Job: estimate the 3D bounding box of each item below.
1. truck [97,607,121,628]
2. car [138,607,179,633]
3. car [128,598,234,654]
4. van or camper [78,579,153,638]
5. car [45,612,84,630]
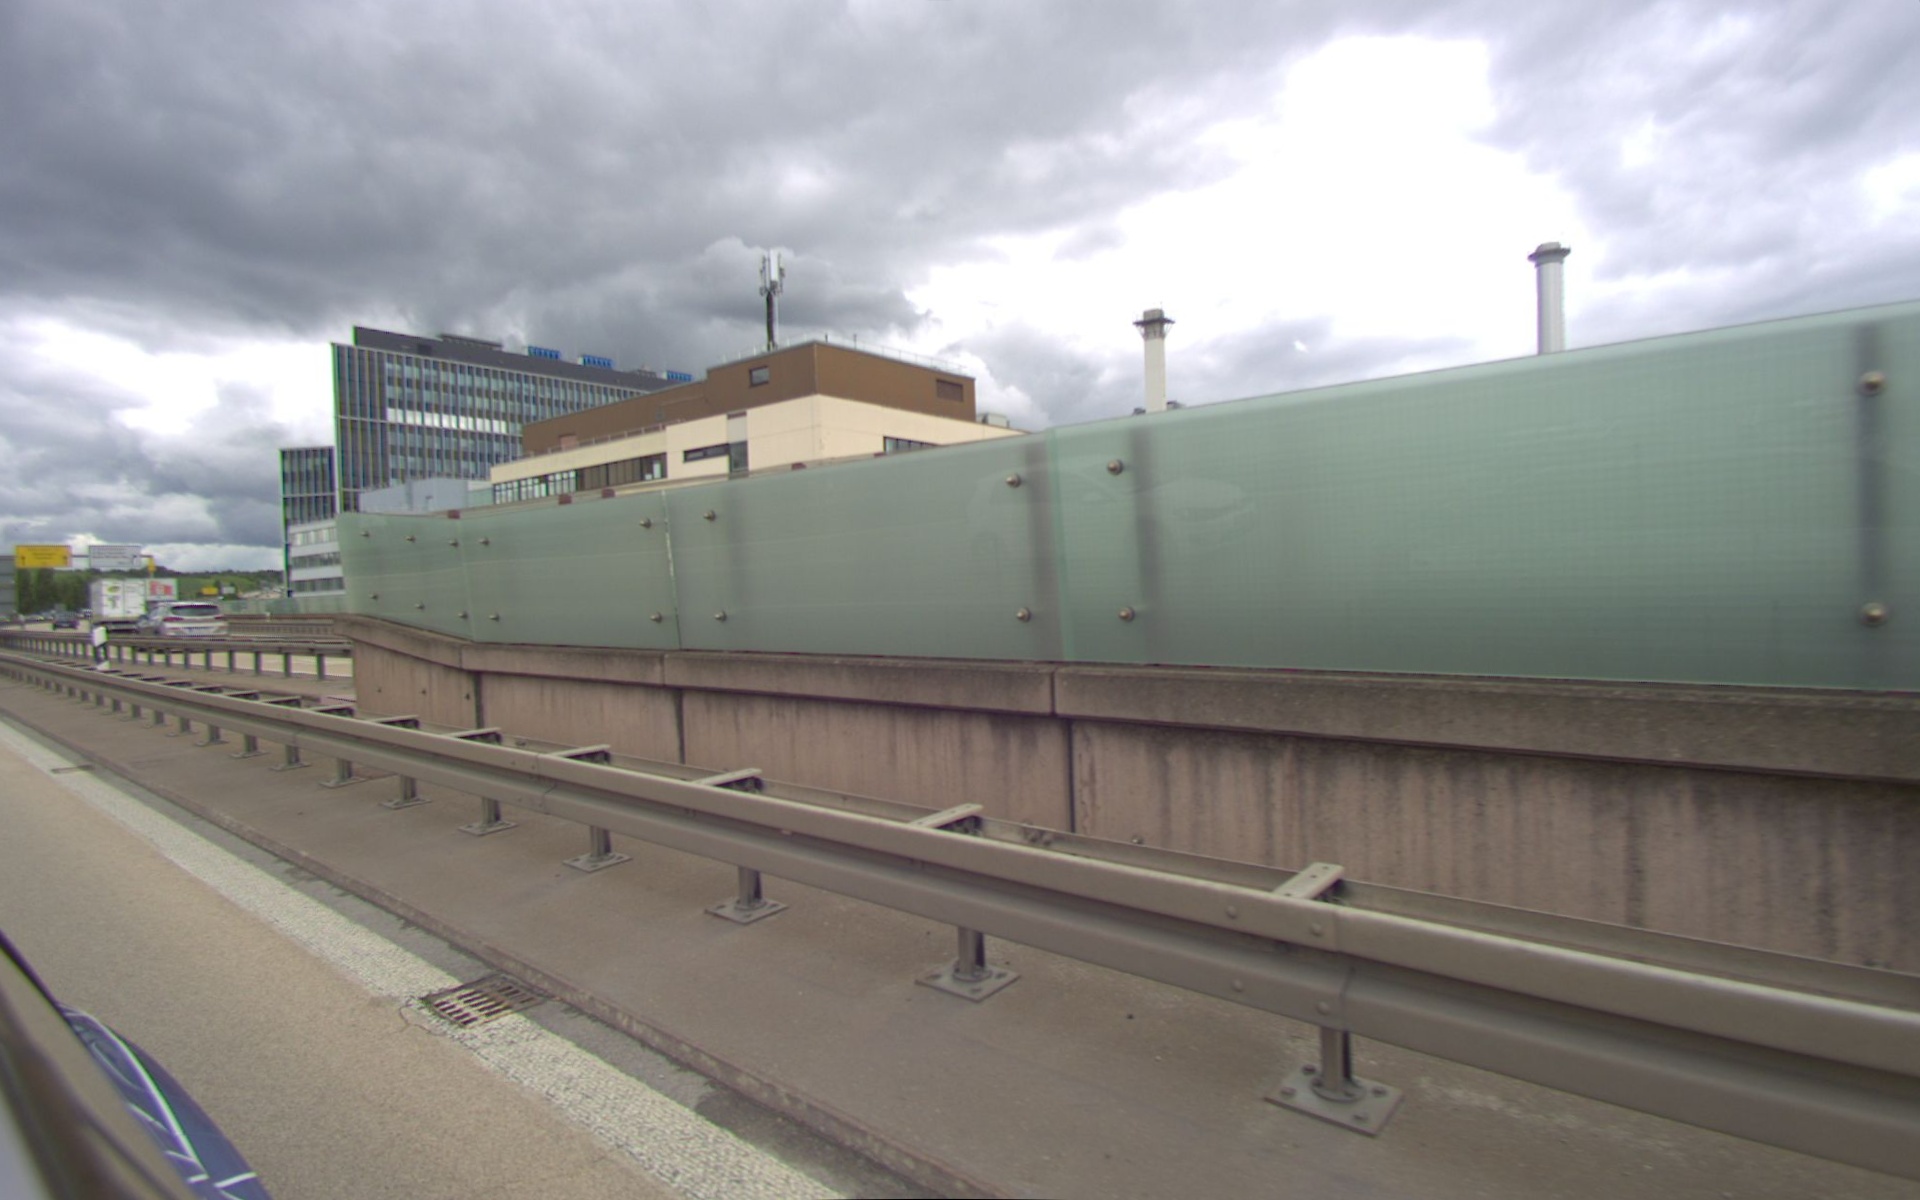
[{"bbox_3d":[-164.642,3.353,195.809,3.220,3.888,13.076,-2,0,-39],"label":"truck"},{"bbox_3d":[-56.493,1.438,71.342,4.371,1.761,1.735,-2,-1,45],"label":"car"},{"bbox_3d":[-25.153,0.830,32.635,4.404,1.686,1.826,-2,-1,40],"label":"car"},{"bbox_3d":[-51.411,0.506,61.540,6.950,3.413,2.380,-1,0,41],"label":"van or camper"},{"bbox_3d":[-83.639,1.975,94.517,4.810,1.624,2.002,-2,-1,40],"label":"car"}]
